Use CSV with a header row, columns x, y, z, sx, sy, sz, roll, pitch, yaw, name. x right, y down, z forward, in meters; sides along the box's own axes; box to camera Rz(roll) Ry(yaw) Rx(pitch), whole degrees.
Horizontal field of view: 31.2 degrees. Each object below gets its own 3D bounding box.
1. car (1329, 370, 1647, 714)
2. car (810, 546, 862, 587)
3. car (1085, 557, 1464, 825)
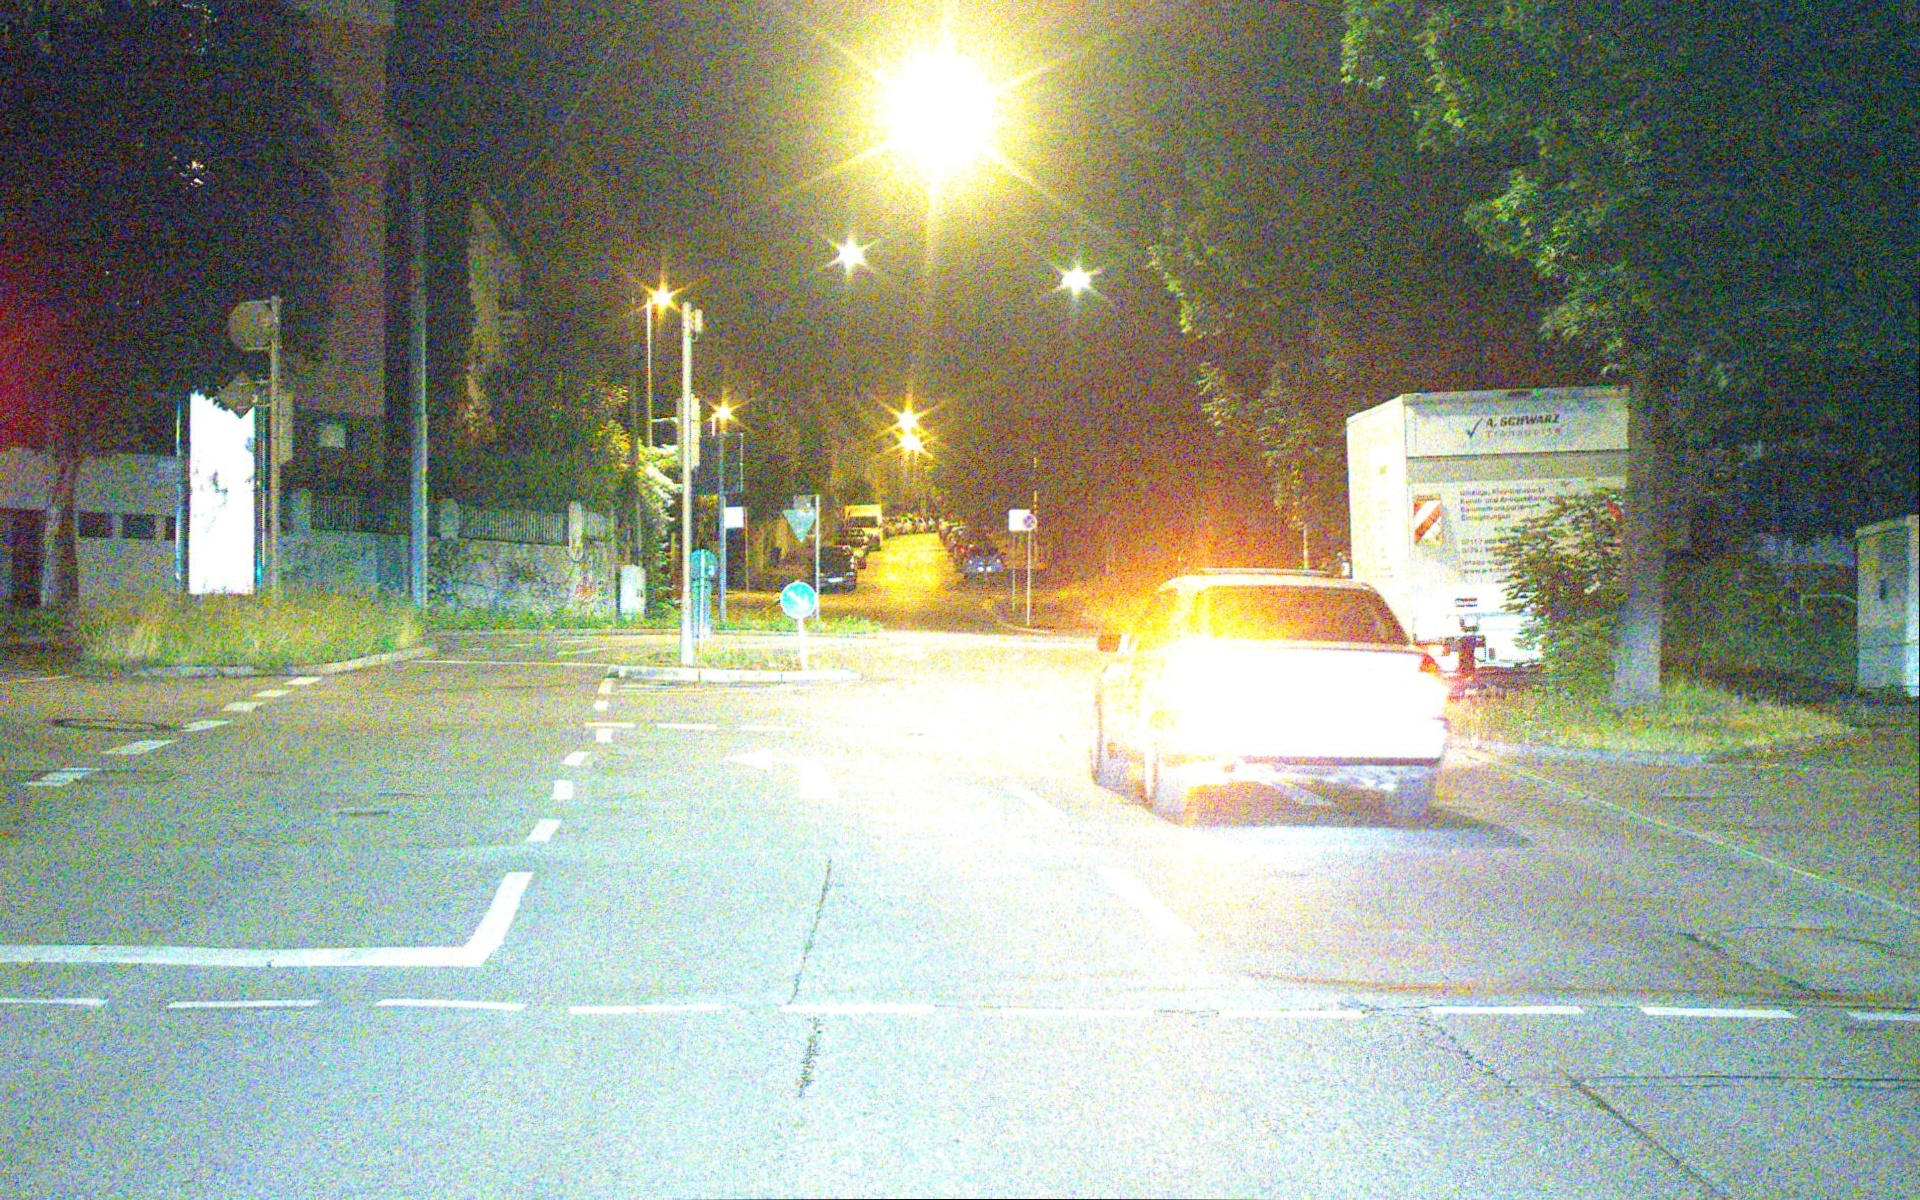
x,y,z,sx,sy,sz,roll,pitch,yaw,name
5.123,-0.563,34.227,2.297,3.082,5.840,-1,1,1,car
-4.840,-1.297,134.386,1.908,1.552,3.904,1,1,-1,car
1.837,0.488,21.277,1.776,1.481,4.000,1,1,-3,car
